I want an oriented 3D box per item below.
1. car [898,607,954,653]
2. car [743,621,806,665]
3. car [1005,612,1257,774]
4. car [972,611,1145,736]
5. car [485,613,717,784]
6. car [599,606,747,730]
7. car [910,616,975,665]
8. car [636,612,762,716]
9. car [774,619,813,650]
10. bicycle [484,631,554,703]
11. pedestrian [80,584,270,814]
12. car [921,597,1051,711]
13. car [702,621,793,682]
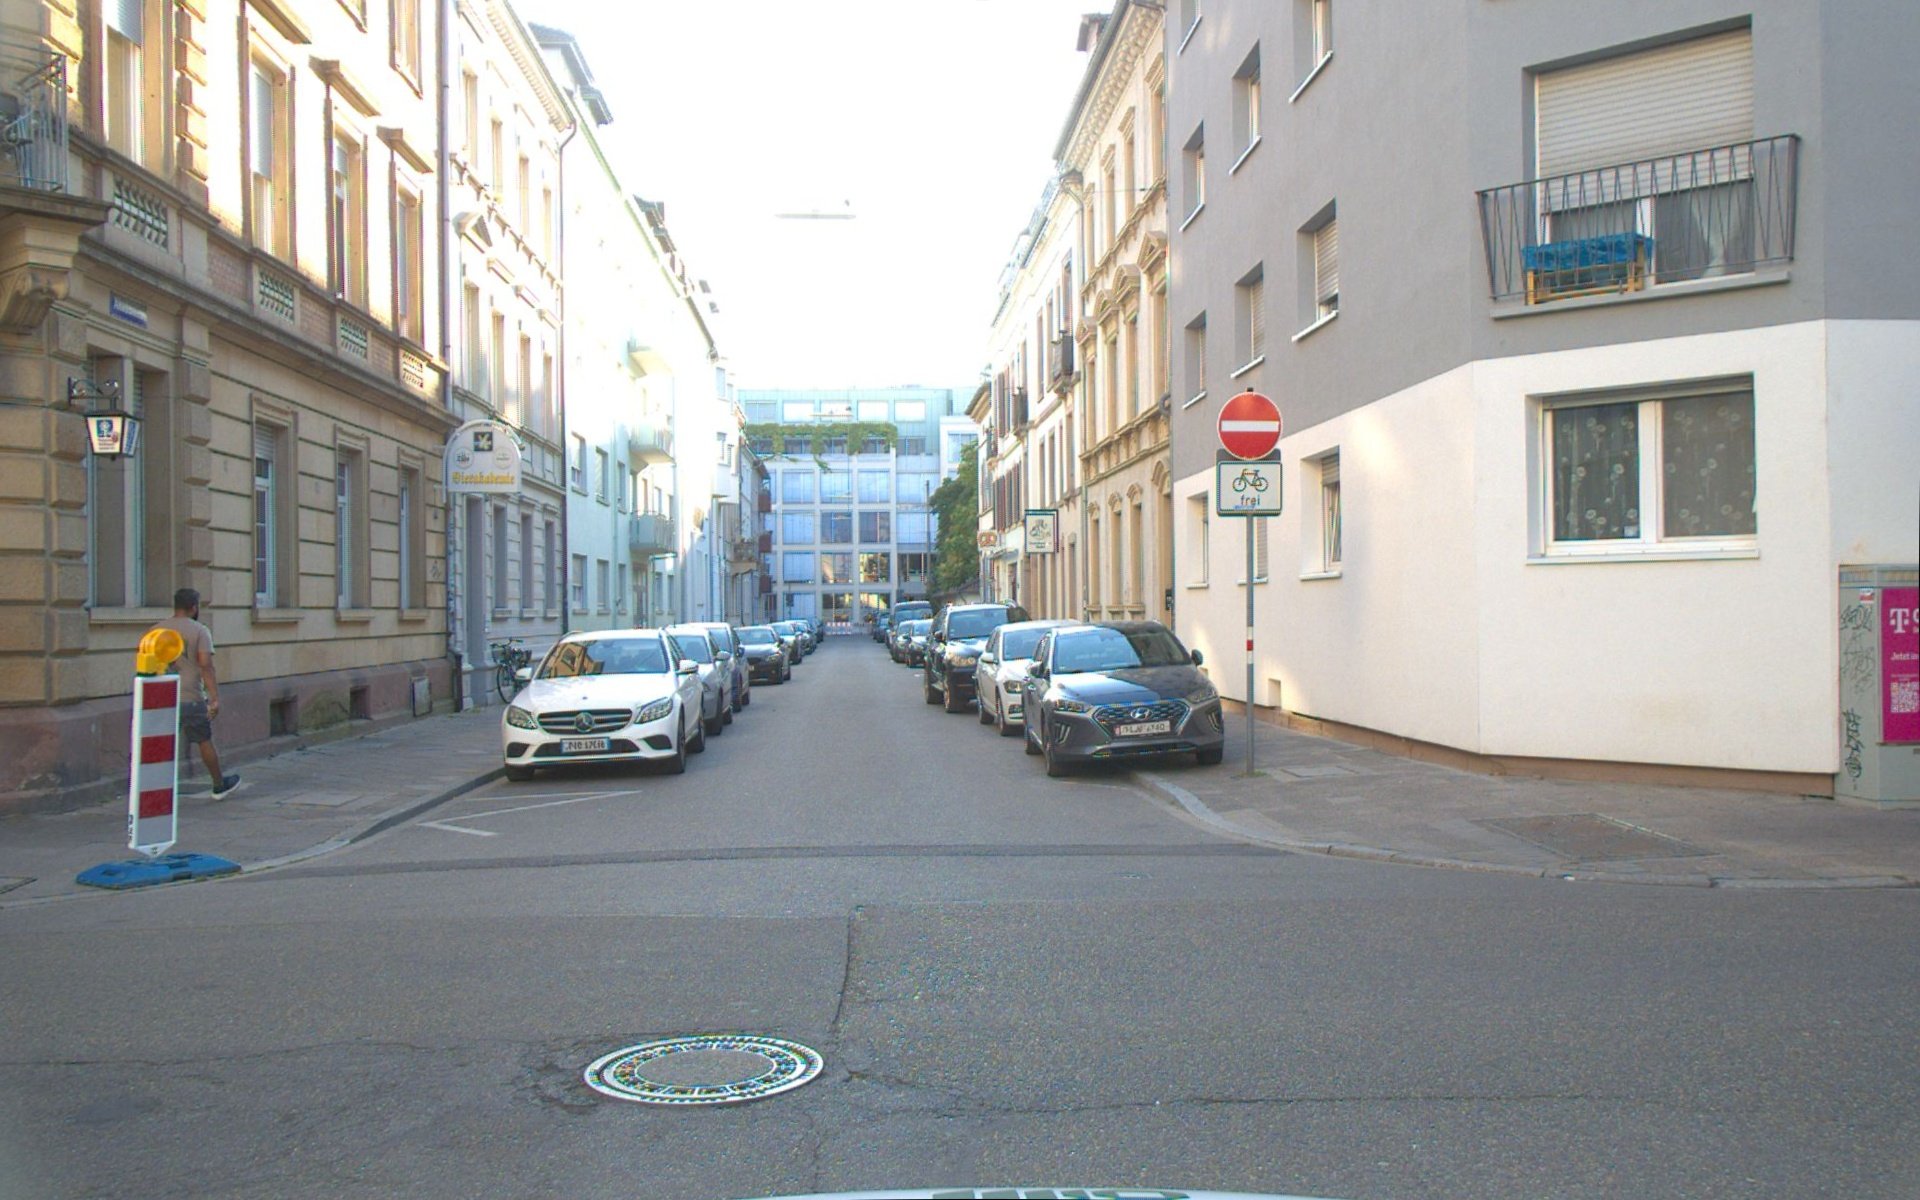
[{"bbox_3d":[-1.342,1.155,64.453,1.954,1.730,3.996,0,0,-4],"label":"car"},{"bbox_3d":[-6.555,1.496,58.524,2.131,1.443,3.995,-1,0,-6],"label":"car"},{"bbox_3d":[1.652,0.879,17.275,1.900,1.396,3.785,-3,0,-5],"label":"car"},{"bbox_3d":[1.293,0.957,23.331,1.925,1.584,3.885,-1,0,-4],"label":"car"},{"bbox_3d":[-3.785,0.960,18.215,1.955,1.592,4.500,-1,0,-6],"label":"car"},{"bbox_3d":[-4.014,0.907,23.620,1.592,1.604,3.752,-1,0,-2],"label":"car"},{"bbox_3d":[-0.598,1.291,53.797,1.954,1.476,3.998,0,0,-3],"label":"car"},{"bbox_3d":[-4.559,1.069,29.329,1.749,1.688,3.814,-1,0,-2],"label":"car"},{"bbox_3d":[-7.576,1.553,75.581,1.674,1.325,3.996,-1,0,-5],"label":"car"},{"bbox_3d":[-7.733,1.150,29.096,0.723,1.181,2.459,0,0,-4],"label":"bicycle"},{"bbox_3d":[-6.343,0.766,13.397,0.961,1.773,1.016,-1,-1,23],"label":"pedestrian"},{"bbox_3d":[0.370,0.877,28.694,1.856,1.815,3.996,-1,0,-5],"label":"car"},{"bbox_3d":[-5.207,1.234,41.016,1.954,1.378,4.425,-1,0,-4],"label":"car"}]
